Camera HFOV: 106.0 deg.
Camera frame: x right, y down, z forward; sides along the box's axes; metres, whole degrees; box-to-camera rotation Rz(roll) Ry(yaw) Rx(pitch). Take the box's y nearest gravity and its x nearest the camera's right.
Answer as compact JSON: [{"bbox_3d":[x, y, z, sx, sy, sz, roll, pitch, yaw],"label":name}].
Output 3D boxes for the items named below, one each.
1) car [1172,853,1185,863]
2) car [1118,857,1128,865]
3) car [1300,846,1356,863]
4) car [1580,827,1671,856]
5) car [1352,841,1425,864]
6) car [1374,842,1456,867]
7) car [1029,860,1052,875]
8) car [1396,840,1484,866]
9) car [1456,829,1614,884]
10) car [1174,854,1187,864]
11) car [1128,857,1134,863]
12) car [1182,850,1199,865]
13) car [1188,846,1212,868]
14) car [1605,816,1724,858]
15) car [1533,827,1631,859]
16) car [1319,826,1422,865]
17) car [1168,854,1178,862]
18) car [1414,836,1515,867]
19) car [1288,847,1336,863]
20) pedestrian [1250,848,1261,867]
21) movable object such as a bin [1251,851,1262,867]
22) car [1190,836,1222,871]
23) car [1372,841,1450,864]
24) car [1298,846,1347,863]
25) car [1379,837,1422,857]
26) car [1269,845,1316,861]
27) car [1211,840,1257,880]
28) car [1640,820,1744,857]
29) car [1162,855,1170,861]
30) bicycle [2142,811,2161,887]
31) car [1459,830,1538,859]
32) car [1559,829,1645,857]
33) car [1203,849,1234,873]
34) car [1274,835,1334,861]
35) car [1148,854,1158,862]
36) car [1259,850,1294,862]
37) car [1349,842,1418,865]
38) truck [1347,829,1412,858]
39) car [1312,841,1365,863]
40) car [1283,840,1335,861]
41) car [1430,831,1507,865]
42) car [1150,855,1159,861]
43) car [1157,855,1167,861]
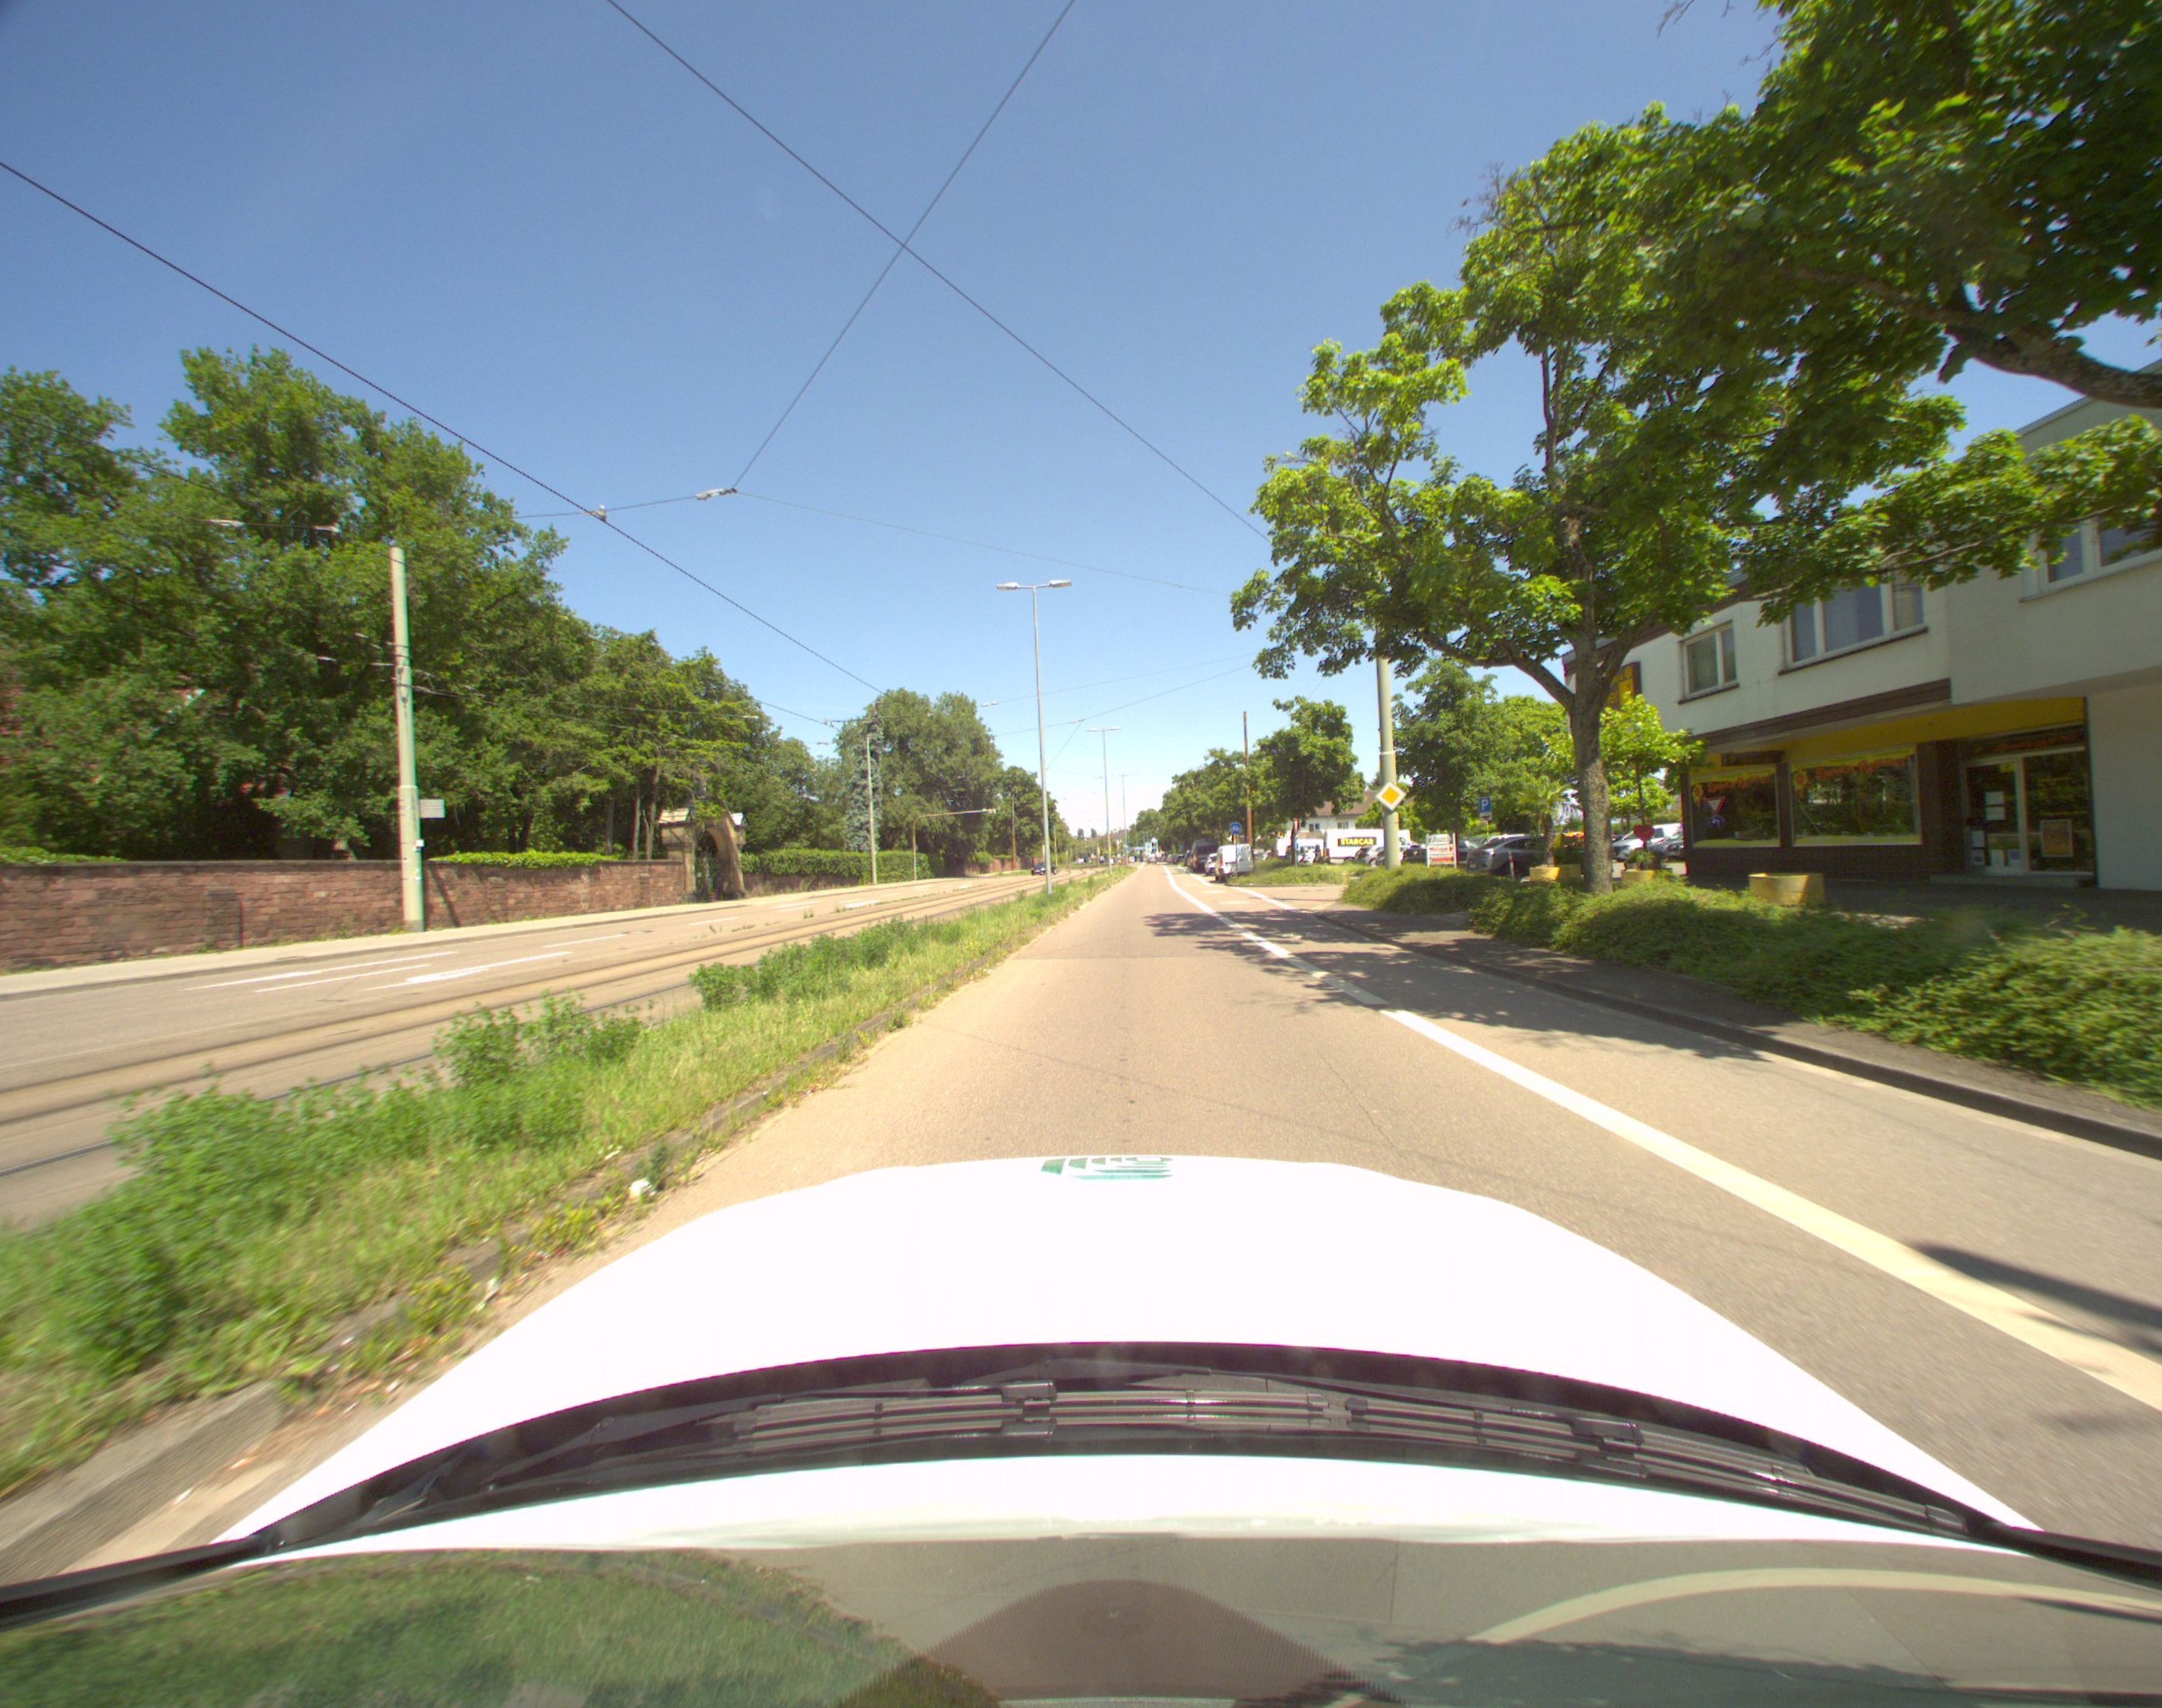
[{"bbox_3d":[17.599,0.708,146.739,1.833,1.529,4.356,-5,0,2],"label":"car"},{"bbox_3d":[8.102,1.335,156.115,1.699,1.414,4.286,-2,0,4],"label":"car"},{"bbox_3d":[20.947,0.028,69.125,4.259,1.406,1.729,0,0,2],"label":"car"},{"bbox_3d":[32.787,-0.728,49.117,4.289,1.436,1.635,-4,-1,5],"label":"car"},{"bbox_3d":[18.936,-0.072,50.238,3.875,1.380,1.727,0,0,-1],"label":"car"},{"bbox_3d":[18.569,0.013,45.353,3.869,1.325,1.729,0,0,3],"label":"car"},{"bbox_3d":[-4.168,1.376,84.273,1.746,1.448,4.130,-1,0,6],"label":"car"},{"bbox_3d":[18.698,-0.042,42.496,3.869,1.281,1.729,0,0,3],"label":"car"},{"bbox_3d":[15.071,0.080,27.204,4.123,1.611,1.945,-3,0,1],"label":"car"},{"bbox_3d":[16.441,0.796,134.809,1.833,1.436,4.828,-5,0,3],"label":"car"},{"bbox_3d":[15.991,1.862,260.588,1.987,2.014,4.000,0,-1,0],"label":"car"},{"bbox_3d":[13.830,0.466,103.239,1.704,1.632,4.714,-5,-1,5],"label":"car"},{"bbox_3d":[11.761,0.279,80.699,1.987,1.878,5.285,-5,0,7],"label":"car"},{"bbox_3d":[31.503,-0.894,44.087,4.895,1.900,1.911,-4,-1,4],"label":"car"},{"bbox_3d":[33.418,-0.735,54.467,5.129,1.752,2.098,-4,-1,5],"label":"car"},{"bbox_3d":[19.740,-0.554,55.834,6.306,2.529,2.268,-1,0,7],"label":"car"},{"bbox_3d":[20.252,0.960,179.236,1.834,1.529,4.968,-5,0,2],"label":"car"},{"bbox_3d":[18.754,-0.116,39.937,4.181,1.490,1.680,0,0,3],"label":"car"},{"bbox_3d":[21.072,0.087,74.318,3.873,1.406,1.727,0,0,0],"label":"car"},{"bbox_3d":[15.374,0.286,71.777,0.801,1.625,0.944,-3,0,5],"label":"pedestrian"},{"bbox_3d":[15.294,0.423,70.859,0.789,1.352,0.890,-3,0,5],"label":"movable object such as a bin"},{"bbox_3d":[10.218,-0.023,67.124,1.988,2.636,6.086,-5,0,5],"label":"car"},{"bbox_3d":[19.295,-0.072,47.741,3.869,1.325,1.729,0,0,3],"label":"car"},{"bbox_3d":[21.315,0.049,71.968,3.871,1.406,1.729,0,0,2],"label":"car"},{"bbox_3d":[35.016,-0.758,89.273,3.984,1.807,1.754,-4,-1,1],"label":"car"},{"bbox_3d":[22.816,-0.127,88.097,4.669,1.644,1.957,0,0,5],"label":"car"},{"bbox_3d":[8.220,0.298,44.152,1.870,1.916,5.132,-5,0,6],"label":"car"},{"bbox_3d":[31.465,-0.788,41.994,3.960,1.604,1.635,-4,-1,5],"label":"car"},{"bbox_3d":[22.629,1.115,217.230,1.701,1.492,5.039,-5,0,1],"label":"car"},{"bbox_3d":[15.463,-0.083,10.693,0.540,1.068,1.901,-3,0,1],"label":"bicycle"},{"bbox_3d":[33.215,-0.755,64.881,5.072,1.876,2.098,-4,-1,5],"label":"car"},{"bbox_3d":[33.094,-0.687,51.790,4.289,1.436,1.635,-4,-1,5],"label":"car"},{"bbox_3d":[9.377,0.493,55.867,1.714,1.428,4.215,-5,-1,5],"label":"car"},{"bbox_3d":[21.900,-0.555,80.185,5.463,2.459,2.098,0,0,5],"label":"car"},{"bbox_3d":[14.727,0.801,167.068,1.747,1.630,4.331,-5,0,6],"label":"car"},{"bbox_3d":[23.684,0.221,98.749,3.841,1.358,1.773,0,0,5],"label":"car"},{"bbox_3d":[19.645,-0.020,52.929,3.871,1.472,1.729,0,0,2],"label":"car"},{"bbox_3d":[36.459,-1.259,99.526,6.916,3.085,2.427,-4,-1,3],"label":"truck"},{"bbox_3d":[20.906,-0.156,66.245,3.766,1.784,1.954,0,0,0],"label":"car"},{"bbox_3d":[21.583,-0.297,77.201,4.391,1.909,1.954,0,0,0],"label":"car"},{"bbox_3d":[33.272,-0.529,69.992,5.464,2.459,2.098,-4,-1,5],"label":"car"},{"bbox_3d":[22.131,1.346,244.443,1.753,1.630,4.317,-5,0,-4],"label":"car"},{"bbox_3d":[22.700,1.203,228.449,1.704,1.562,4.317,-5,0,-4],"label":"car"}]
